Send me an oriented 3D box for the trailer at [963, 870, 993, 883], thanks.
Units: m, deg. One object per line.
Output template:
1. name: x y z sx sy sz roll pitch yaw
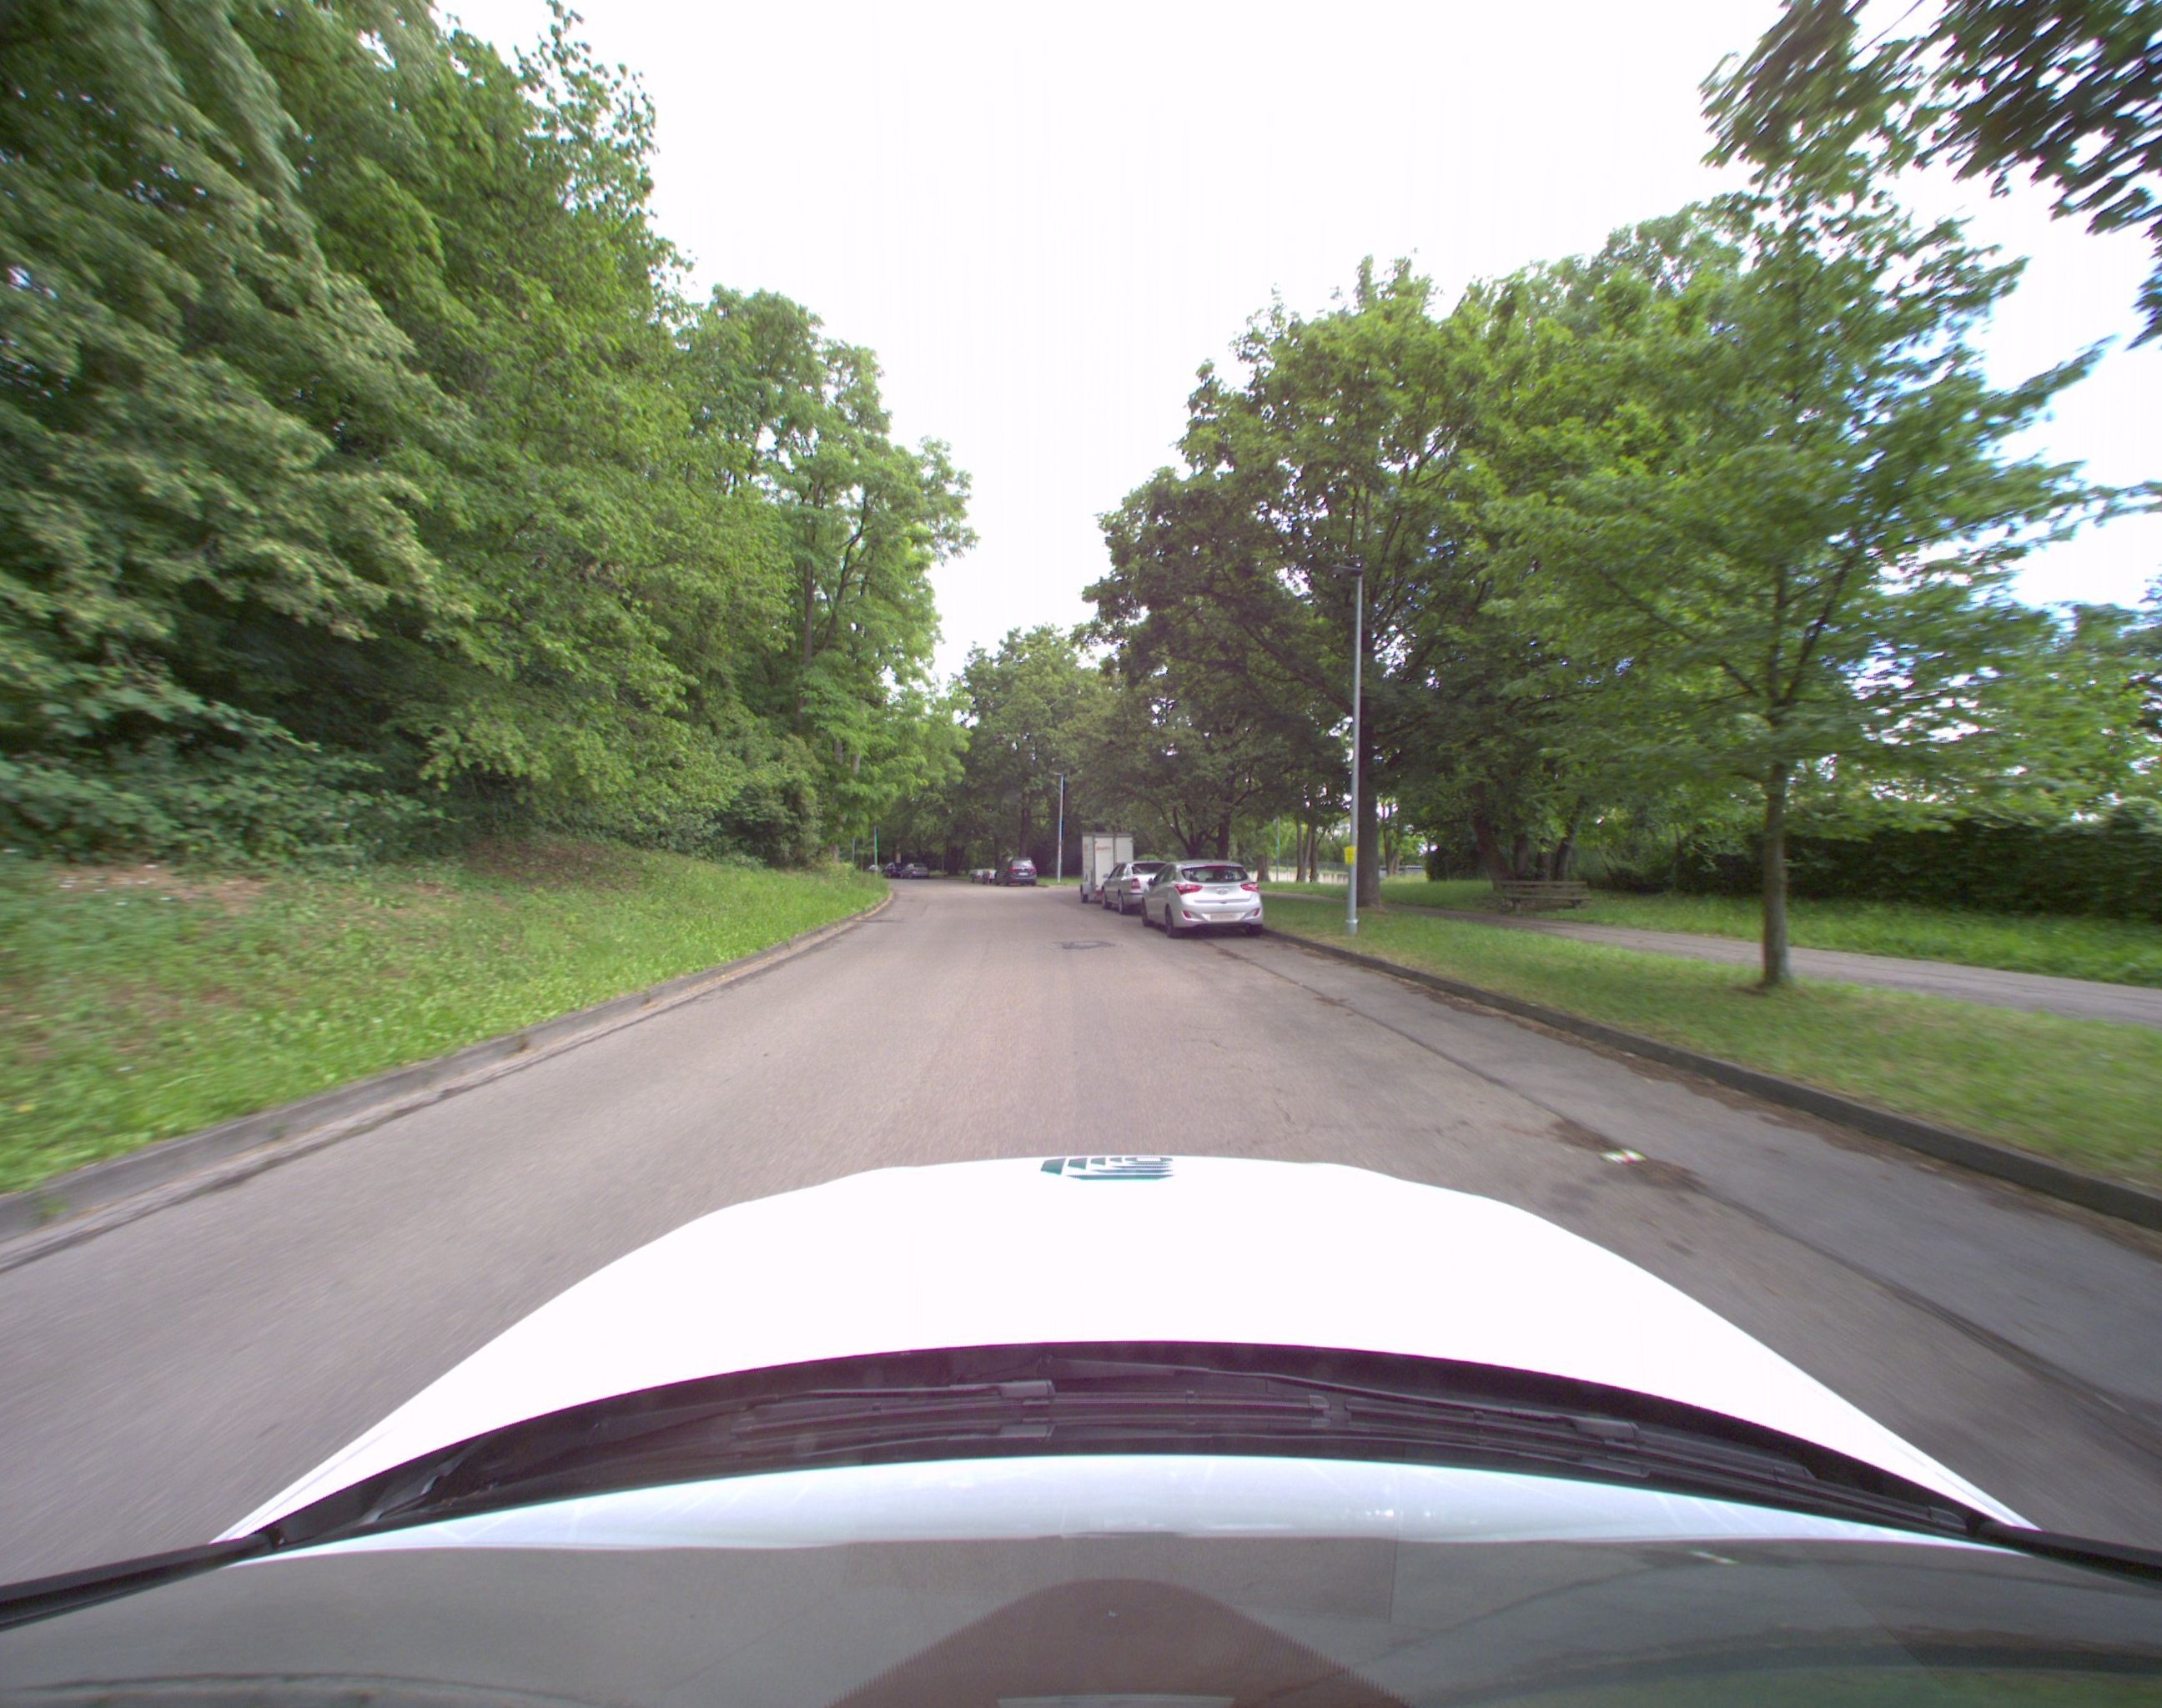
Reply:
1. trailer: -7.276 1.586 57.538 1.368 0.848 3.255 2 -3 -21

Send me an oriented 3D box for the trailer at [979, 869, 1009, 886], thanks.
1. trailer: -5.705 1.515 53.036 1.360 0.969 3.872 2 -1 -15

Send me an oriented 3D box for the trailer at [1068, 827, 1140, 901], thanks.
1. trailer: 0.733 0.342 28.677 1.761 2.427 3.873 -1 -1 -10

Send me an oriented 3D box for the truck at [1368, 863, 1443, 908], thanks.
1. truck: 30.332 3.032 75.825 9.623 3.998 2.665 4 -4 -43

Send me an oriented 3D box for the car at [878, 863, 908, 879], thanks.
1. car: -18.347 1.685 79.355 1.725 1.510 4.139 3 -3 -31

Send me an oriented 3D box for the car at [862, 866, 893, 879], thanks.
1. car: -20.867 1.907 83.346 1.762 1.337 4.369 1 -2 -34

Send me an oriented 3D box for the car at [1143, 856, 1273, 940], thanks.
1. car: 2.440 0.820 16.655 1.897 1.476 4.056 1 -1 -2

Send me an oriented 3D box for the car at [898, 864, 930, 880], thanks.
1. car: -15.092 1.633 73.550 1.728 1.432 3.910 0 -2 -30

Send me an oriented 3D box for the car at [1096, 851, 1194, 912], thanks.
1. car: 1.707 0.747 23.357 1.741 1.525 4.620 -1 -1 -9

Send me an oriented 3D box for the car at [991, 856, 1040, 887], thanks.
1. car: -3.857 1.043 47.267 1.780 1.663 4.812 2 -2 -17
